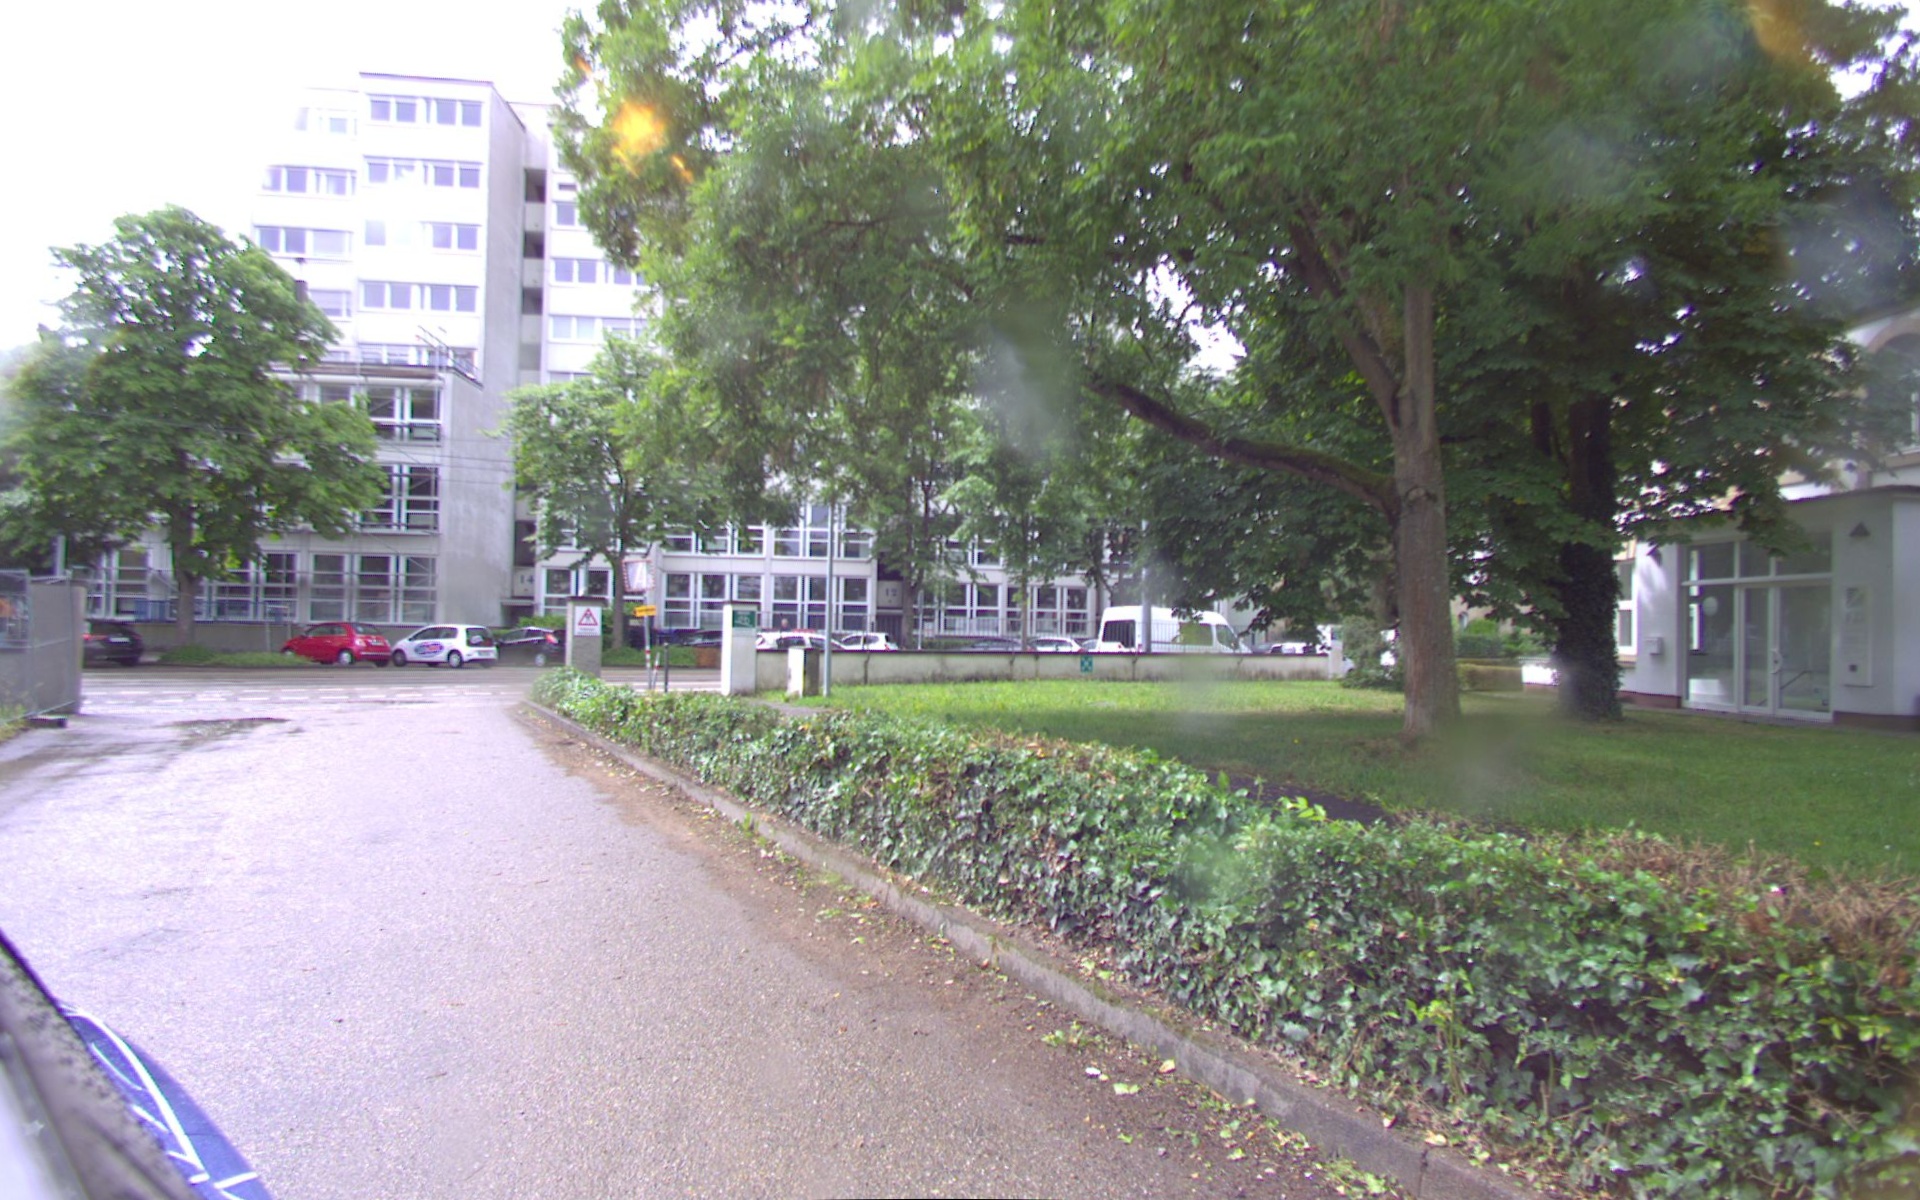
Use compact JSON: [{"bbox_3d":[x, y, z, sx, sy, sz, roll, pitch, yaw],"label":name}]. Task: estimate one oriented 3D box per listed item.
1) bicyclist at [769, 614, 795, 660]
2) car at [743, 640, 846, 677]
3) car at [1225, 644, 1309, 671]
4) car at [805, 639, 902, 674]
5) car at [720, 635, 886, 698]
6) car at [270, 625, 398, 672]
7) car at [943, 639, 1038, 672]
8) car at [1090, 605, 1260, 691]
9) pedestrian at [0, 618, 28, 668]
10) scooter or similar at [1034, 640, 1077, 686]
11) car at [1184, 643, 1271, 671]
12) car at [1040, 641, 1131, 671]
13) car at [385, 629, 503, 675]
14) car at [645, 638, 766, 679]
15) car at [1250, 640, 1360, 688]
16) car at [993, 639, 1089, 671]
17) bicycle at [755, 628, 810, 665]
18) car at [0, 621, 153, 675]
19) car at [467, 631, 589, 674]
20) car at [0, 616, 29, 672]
[{"bbox_3d":[-6.349,1.329,36.116,0.663,1.630,0.646,2,-4,-38],"label":"bicyclist"},{"bbox_3d":[-6.814,2.424,41.841,3.843,1.465,1.815,-1,-4,14],"label":"car"},{"bbox_3d":[17.427,3.281,57.501,4.410,1.464,1.892,-2,-3,22],"label":"car"},{"bbox_3d":[-4.606,2.448,43.923,3.843,1.465,1.770,-1,-3,14],"label":"car"},{"bbox_3d":[-3.946,1.681,25.584,3.768,1.471,1.695,2,-4,-32],"label":"car"},{"bbox_3d":[-20.844,1.614,33.765,3.375,1.481,1.734,0,-4,14],"label":"car"},{"bbox_3d":[1.436,2.618,47.363,4.167,1.464,1.805,-1,-3,15],"label":"car"},{"bbox_3d":[6.819,1.548,31.930,5.184,2.529,2.146,2,-4,-32],"label":"car"},{"bbox_3d":[-33.968,1.532,36.089,0.832,1.756,0.703,-2,-3,18],"label":"pedestrian"},{"bbox_3d":[2.765,1.826,29.260,1.145,1.287,0.421,0,-4,34],"label":"scooter or similar"},{"bbox_3d":[14.785,3.154,55.908,4.410,1.464,1.892,-2,-3,22],"label":"car"},{"bbox_3d":[6.330,2.816,50.883,4.330,1.464,1.897,-1,-3,15],"label":"car"},{"bbox_3d":[-17.837,1.785,35.019,3.378,1.463,1.701,0,-2,17],"label":"car"},{"bbox_3d":[-10.157,2.350,40.496,4.326,1.567,1.870,-1,-4,13],"label":"car"},{"bbox_3d":[11.992,2.235,35.180,3.312,1.563,1.920,3,-4,-30],"label":"car"},{"bbox_3d":[3.936,2.684,48.978,4.353,1.464,1.876,-1,-3,15],"label":"car"},{"bbox_3d":[-6.327,1.664,36.110,1.839,1.276,0.646,2,-4,-39],"label":"bicycle"},{"bbox_3d":[-25.996,1.394,29.724,3.615,1.481,1.734,0,-2,14],"label":"car"},{"bbox_3d":[-15.791,1.903,37.011,3.949,1.492,1.804,-1,-3,21],"label":"car"},{"bbox_3d":[-28.422,1.209,28.386,3.616,1.563,1.700,0,-2,15],"label":"car"}]
